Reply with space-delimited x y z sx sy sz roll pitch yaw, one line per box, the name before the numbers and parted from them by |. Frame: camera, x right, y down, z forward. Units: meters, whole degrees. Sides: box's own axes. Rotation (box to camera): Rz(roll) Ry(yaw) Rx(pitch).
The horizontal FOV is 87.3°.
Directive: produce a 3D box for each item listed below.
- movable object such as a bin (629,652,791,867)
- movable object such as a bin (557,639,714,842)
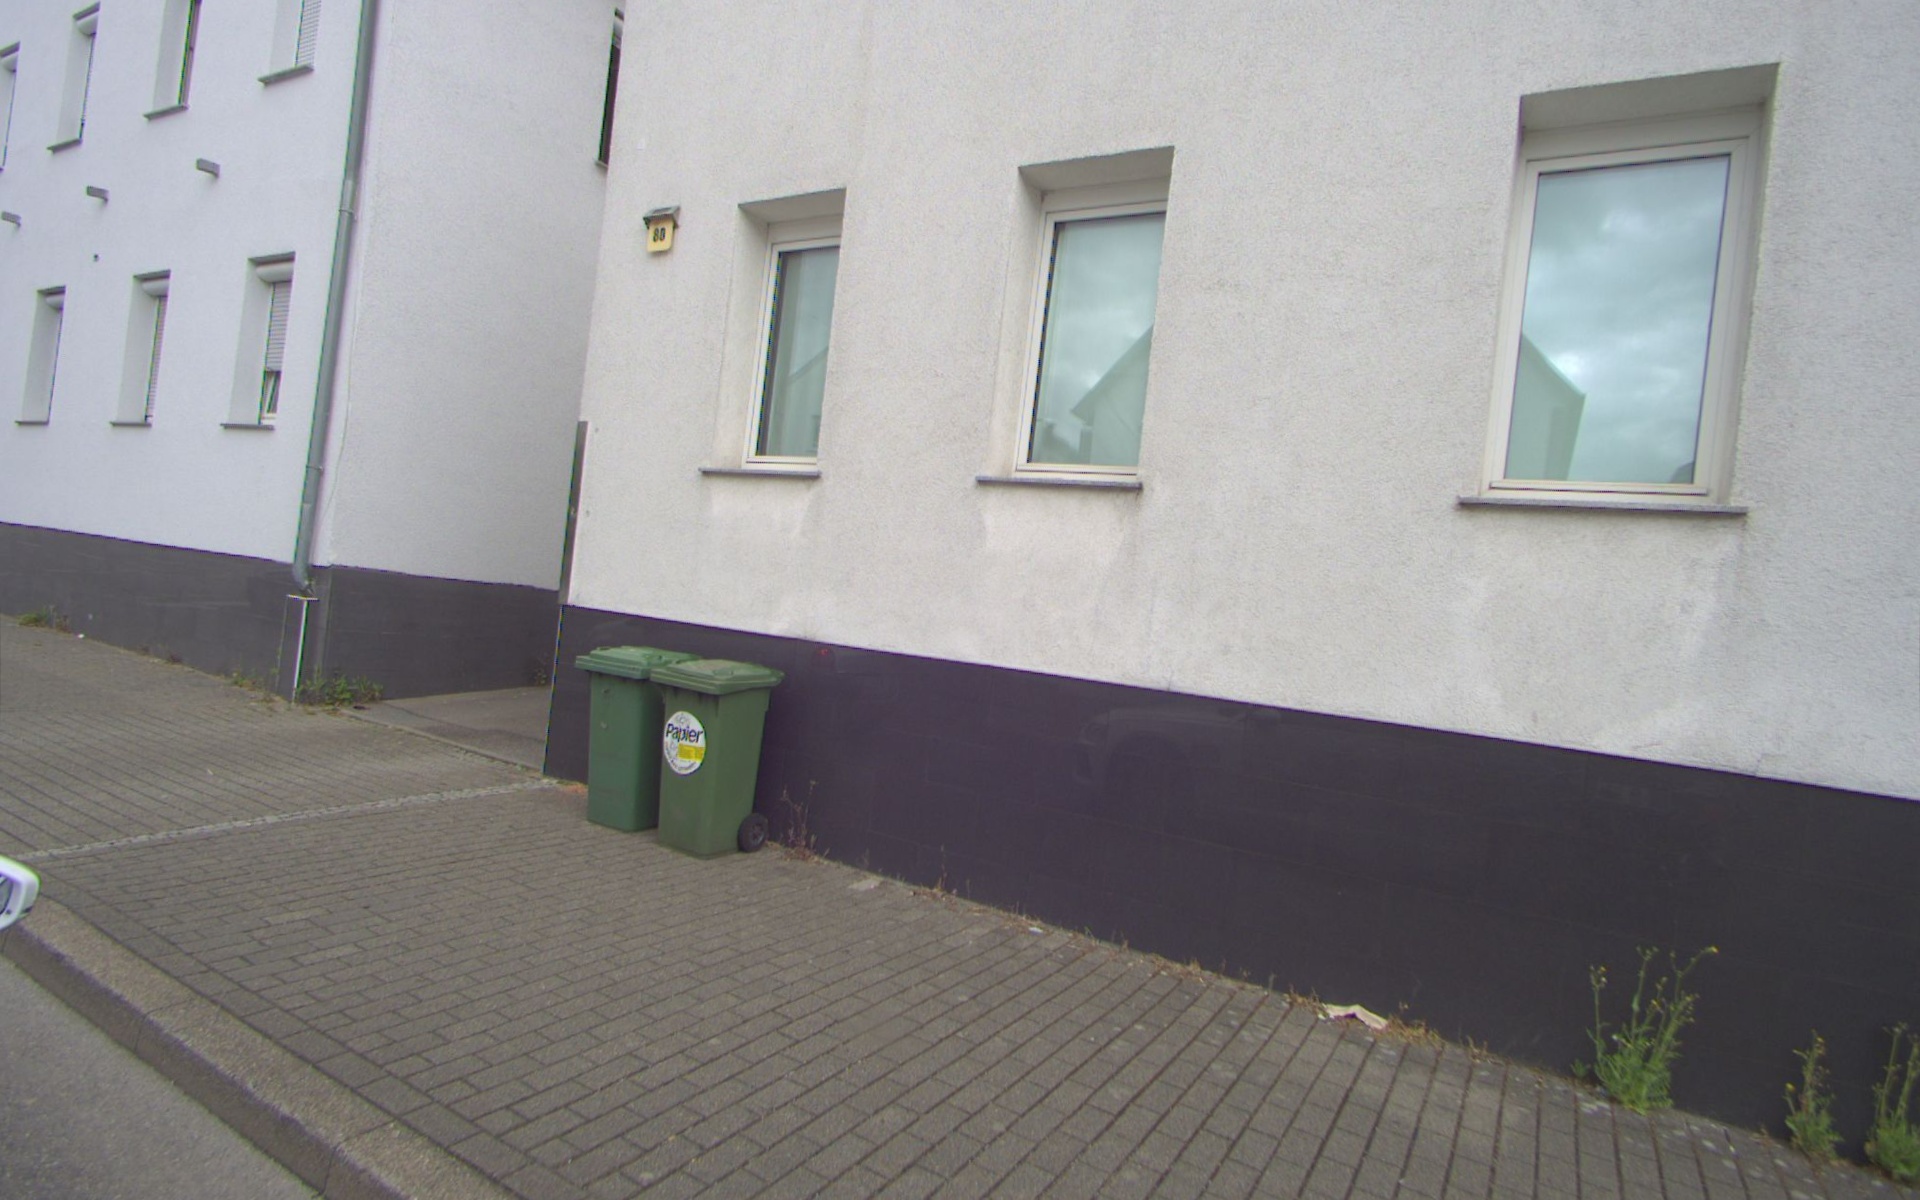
movable object such as a bin | -1.250 0.764 5.058 0.479 0.953 0.540 7 2 32
movable object such as a bin | -1.708 0.711 5.315 0.479 0.953 0.540 7 2 32
